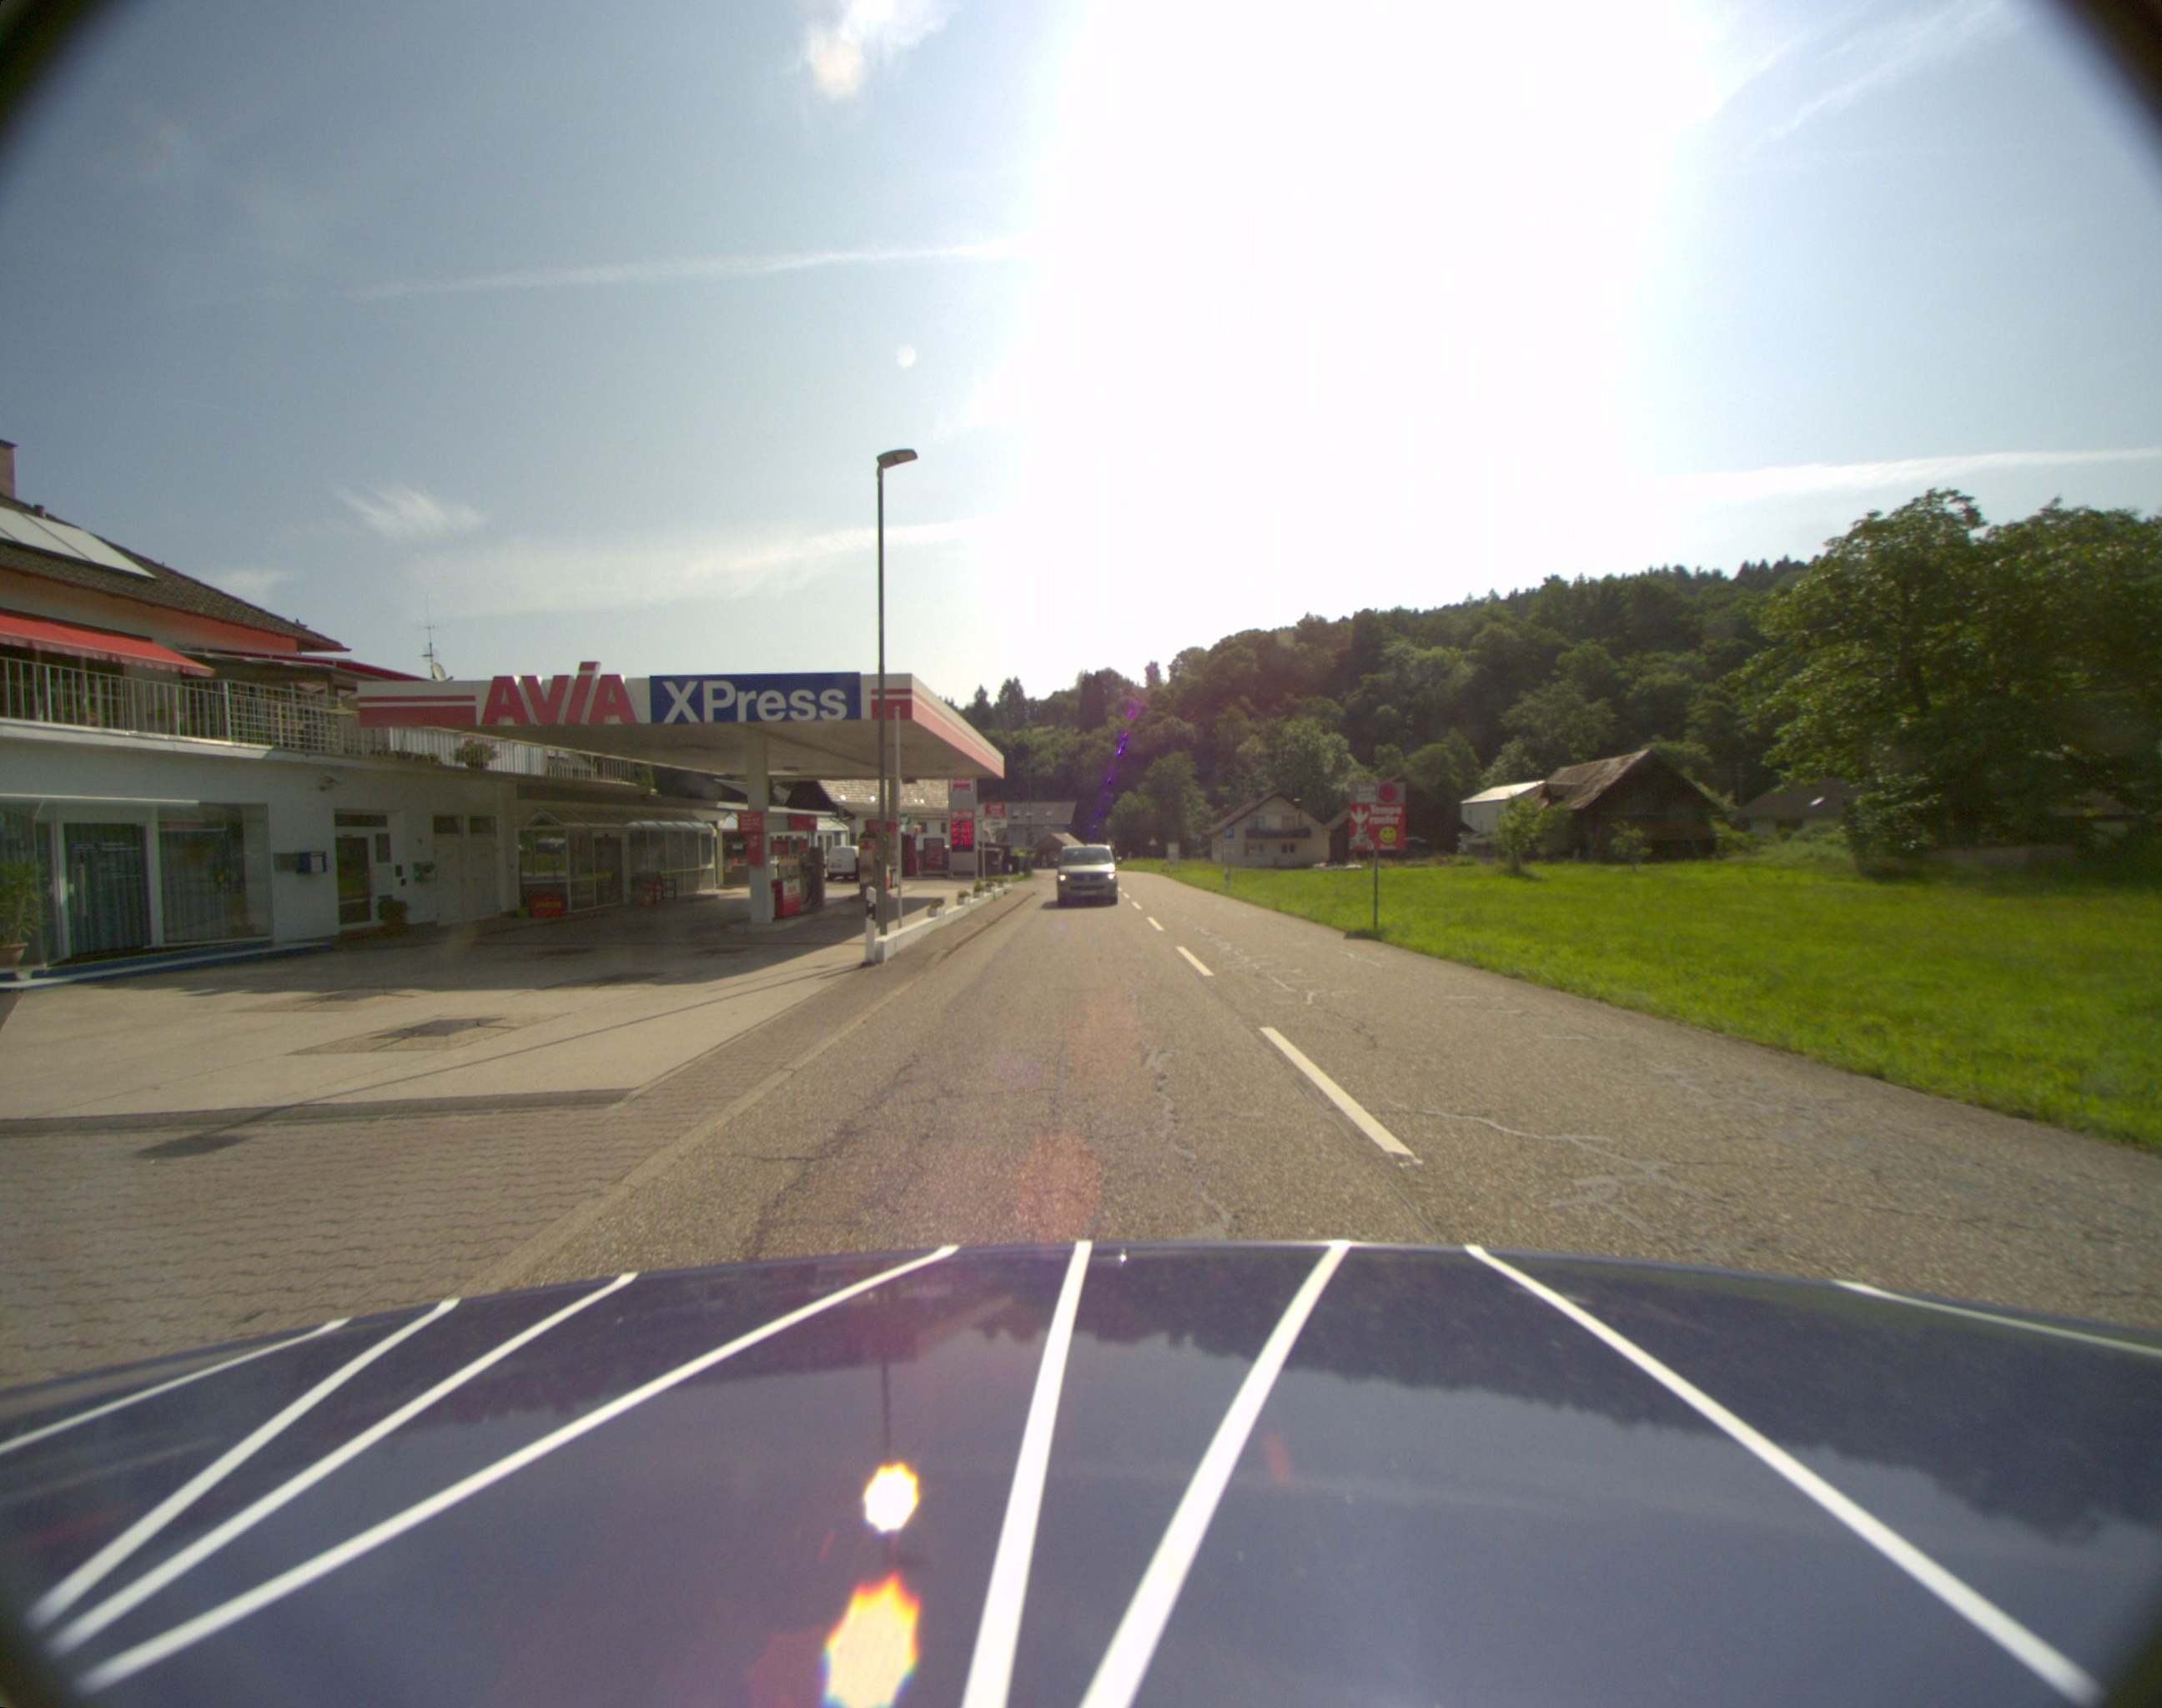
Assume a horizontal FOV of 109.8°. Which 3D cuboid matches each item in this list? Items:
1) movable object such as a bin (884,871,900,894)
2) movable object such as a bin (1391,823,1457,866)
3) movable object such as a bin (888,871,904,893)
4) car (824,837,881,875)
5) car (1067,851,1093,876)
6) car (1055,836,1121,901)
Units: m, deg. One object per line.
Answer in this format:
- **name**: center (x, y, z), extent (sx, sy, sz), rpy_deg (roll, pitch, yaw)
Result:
- **movable object such as a bin**: center (-7.119, 1.074, 28.601), extent (0.481, 0.840, 0.496), rpy_deg (-1, 1, -2)
- **movable object such as a bin**: center (25.832, -0.723, 57.351), extent (4.185, 3.119, 2.205), rpy_deg (-1, 1, 15)
- **movable object such as a bin**: center (-7.106, 1.070, 29.138), extent (0.481, 0.840, 0.528), rpy_deg (-1, 1, -2)
- **car**: center (-11.708, 0.041, 39.200), extent (1.684, 1.805, 3.999), rpy_deg (-2, 1, 0)
- **car**: center (-0.130, 0.736, 60.256), extent (1.896, 1.846, 4.702), rpy_deg (-1, 0, -2)
- **car**: center (0.193, 0.463, 26.579), extent (2.024, 1.970, 5.048), rpy_deg (-2, 0, -1)
